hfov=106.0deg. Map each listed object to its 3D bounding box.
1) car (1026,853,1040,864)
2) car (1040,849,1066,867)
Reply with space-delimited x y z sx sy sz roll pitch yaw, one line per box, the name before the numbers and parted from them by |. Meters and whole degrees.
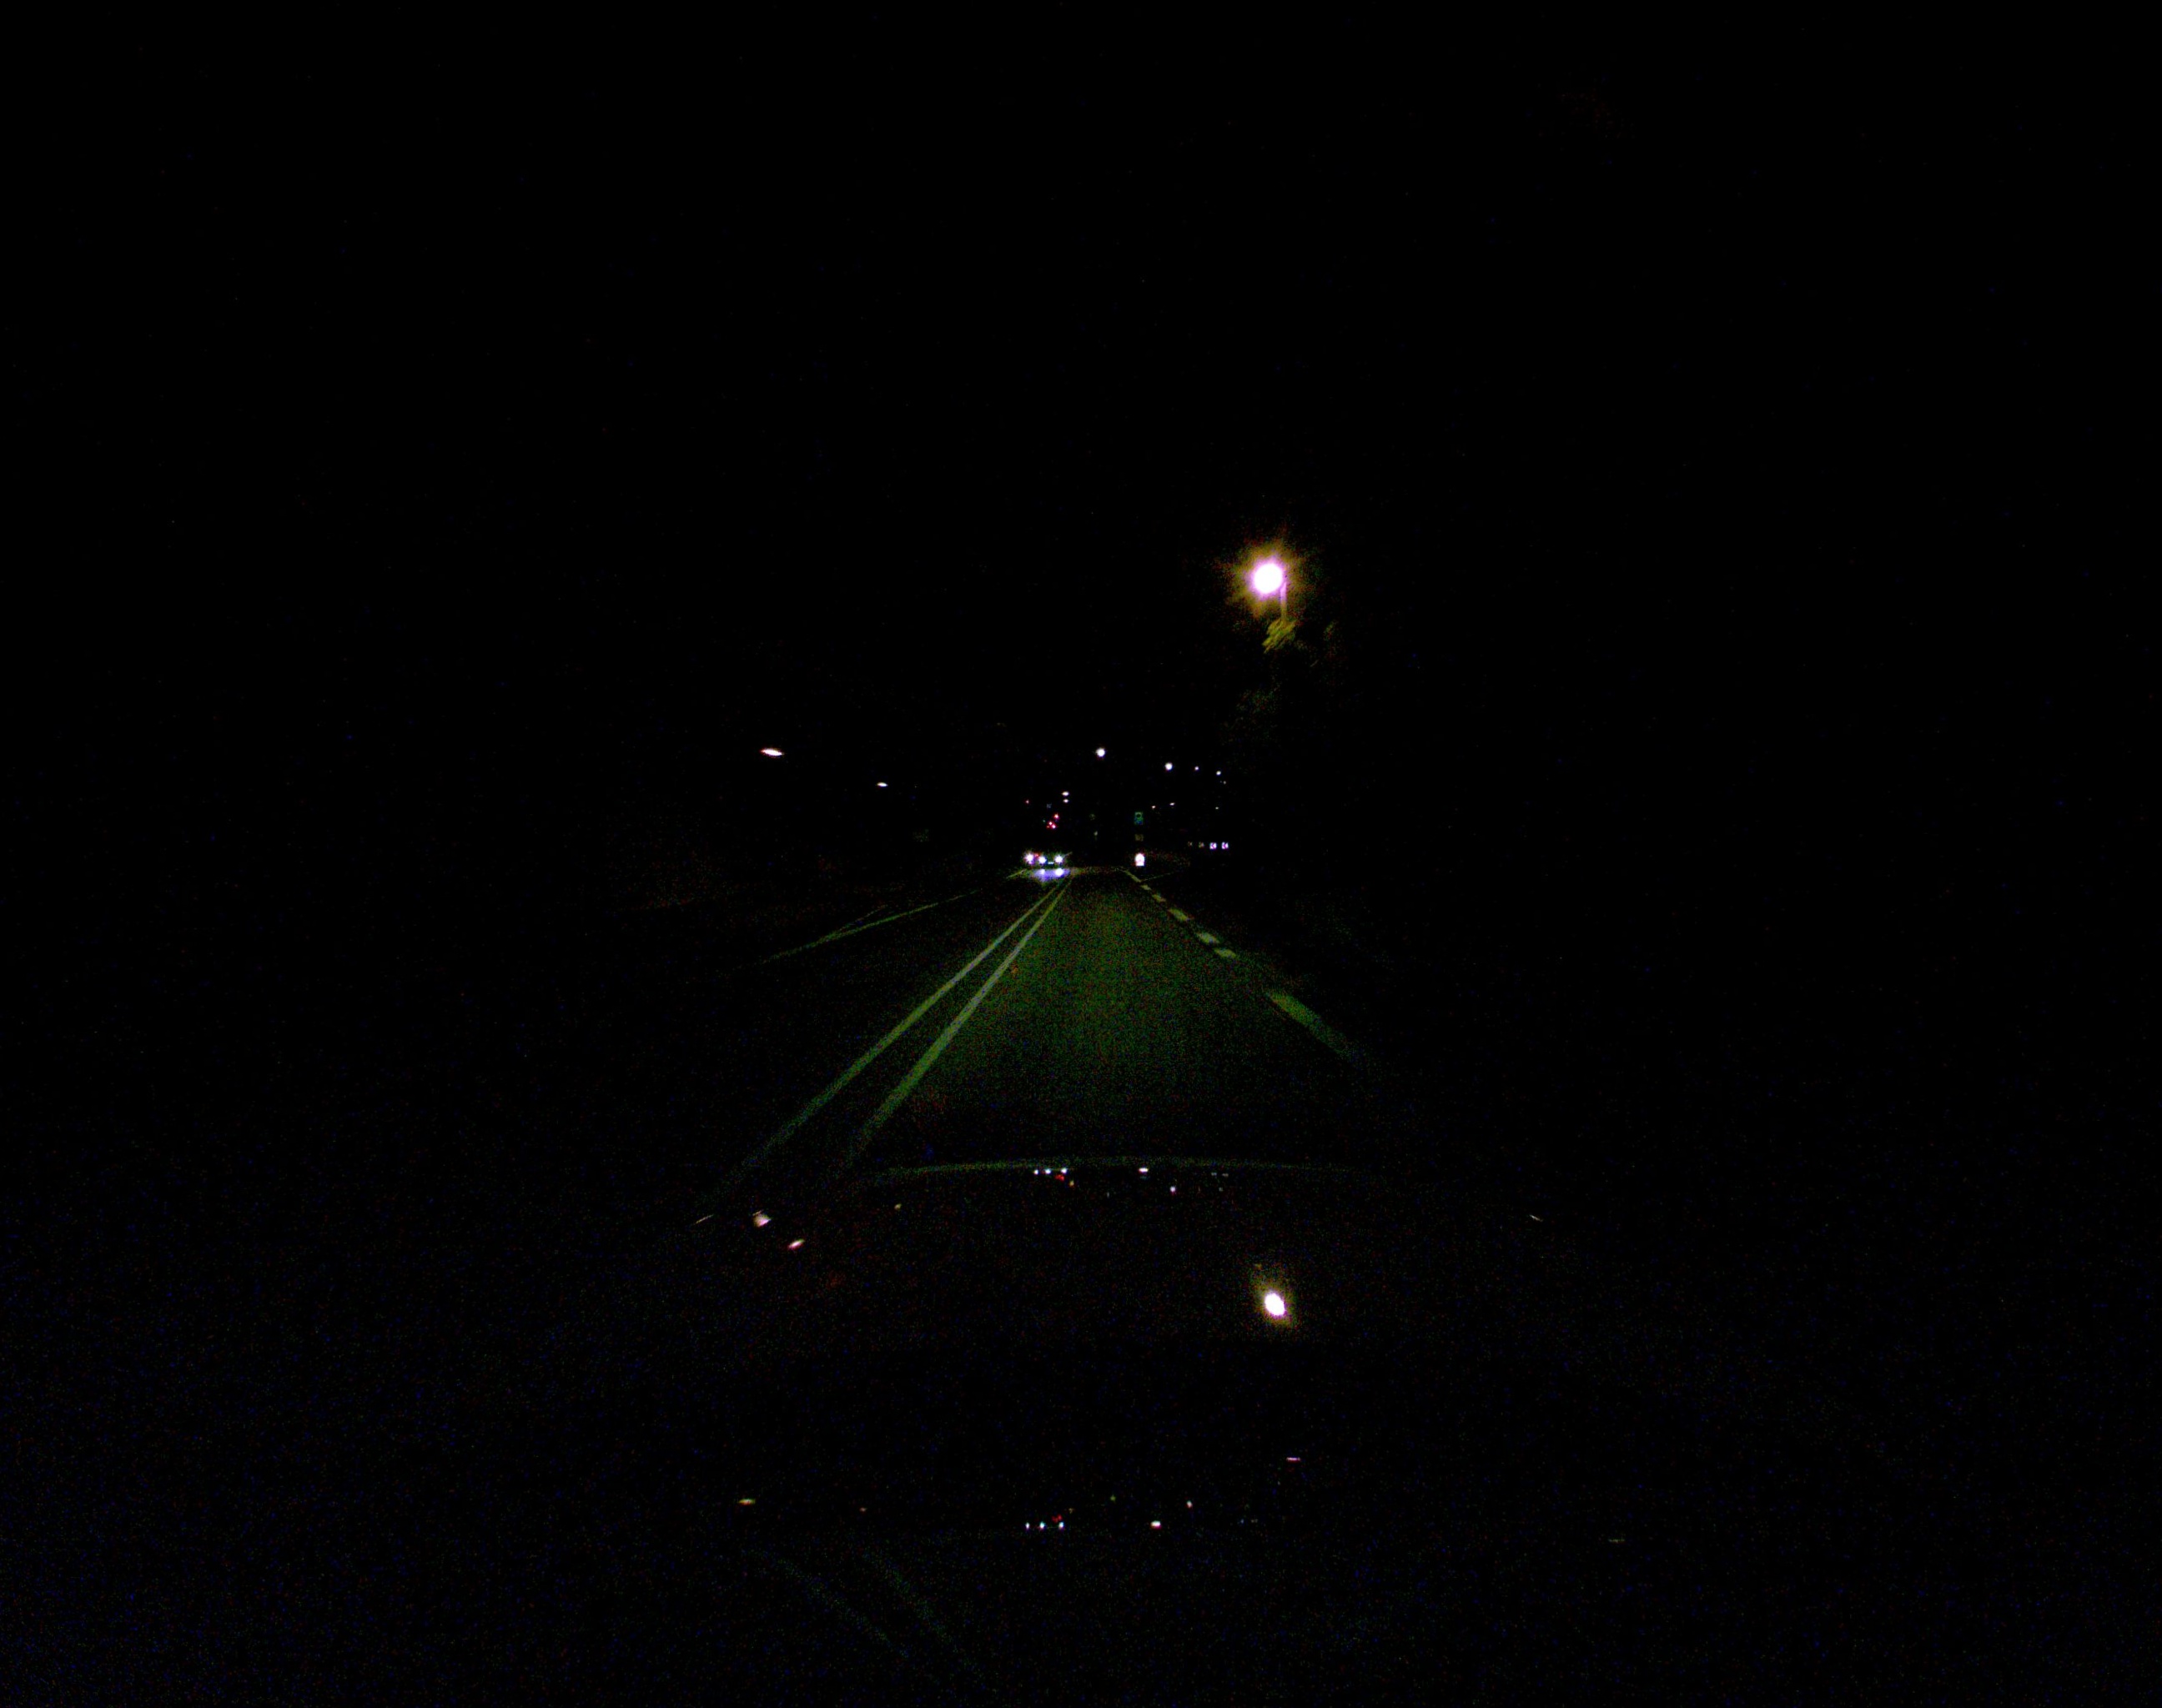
car | -9.044 0.937 153.439 1.920 2.014 4.104 1 -1 -13
car | -2.536 0.383 74.309 1.874 1.554 4.221 -3 -1 3
